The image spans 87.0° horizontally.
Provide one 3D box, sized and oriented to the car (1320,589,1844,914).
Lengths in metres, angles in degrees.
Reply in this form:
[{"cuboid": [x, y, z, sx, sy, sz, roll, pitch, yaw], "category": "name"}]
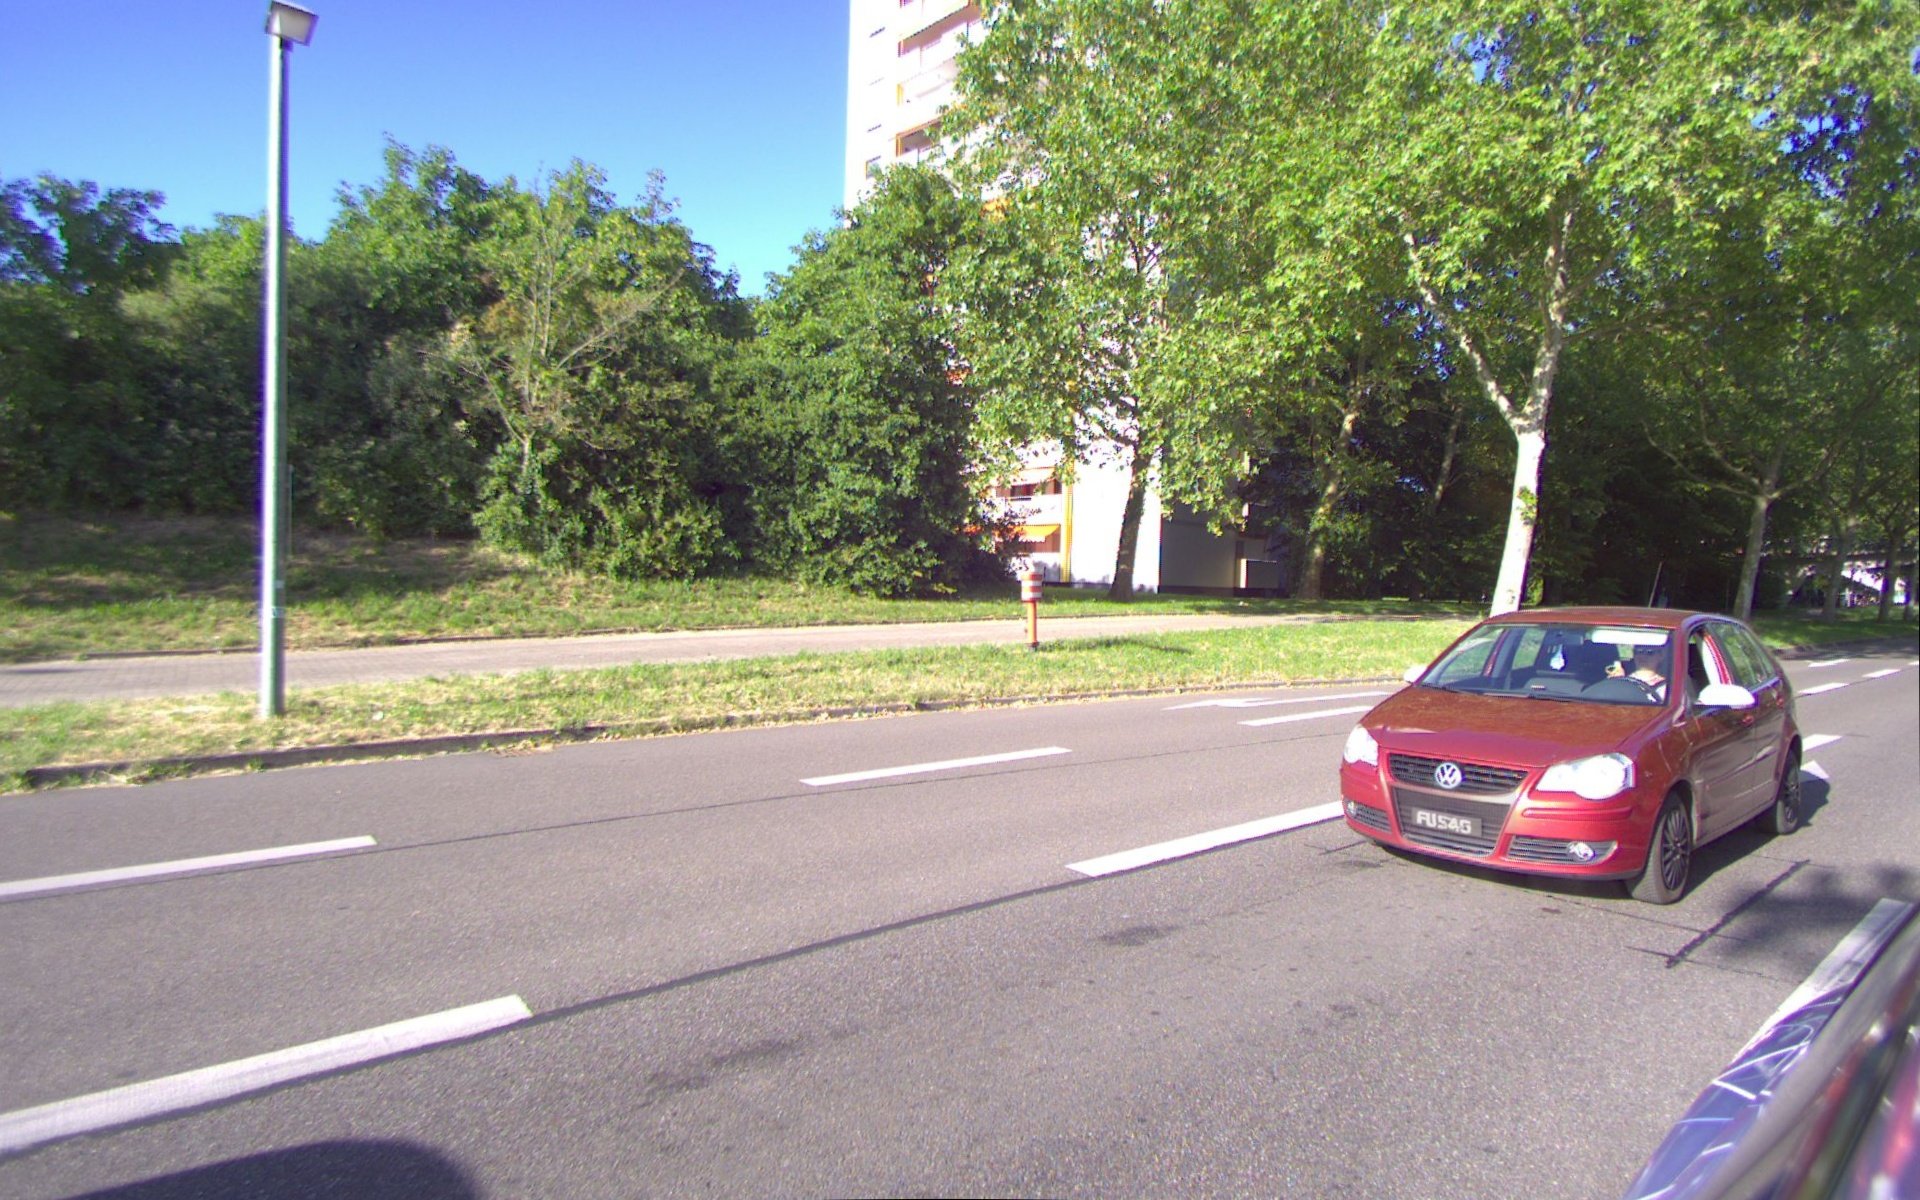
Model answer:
[{"cuboid": [4.036, 0.661, 6.360, 3.692, 1.456, 1.646, -1, 1, -38], "category": "car"}]
